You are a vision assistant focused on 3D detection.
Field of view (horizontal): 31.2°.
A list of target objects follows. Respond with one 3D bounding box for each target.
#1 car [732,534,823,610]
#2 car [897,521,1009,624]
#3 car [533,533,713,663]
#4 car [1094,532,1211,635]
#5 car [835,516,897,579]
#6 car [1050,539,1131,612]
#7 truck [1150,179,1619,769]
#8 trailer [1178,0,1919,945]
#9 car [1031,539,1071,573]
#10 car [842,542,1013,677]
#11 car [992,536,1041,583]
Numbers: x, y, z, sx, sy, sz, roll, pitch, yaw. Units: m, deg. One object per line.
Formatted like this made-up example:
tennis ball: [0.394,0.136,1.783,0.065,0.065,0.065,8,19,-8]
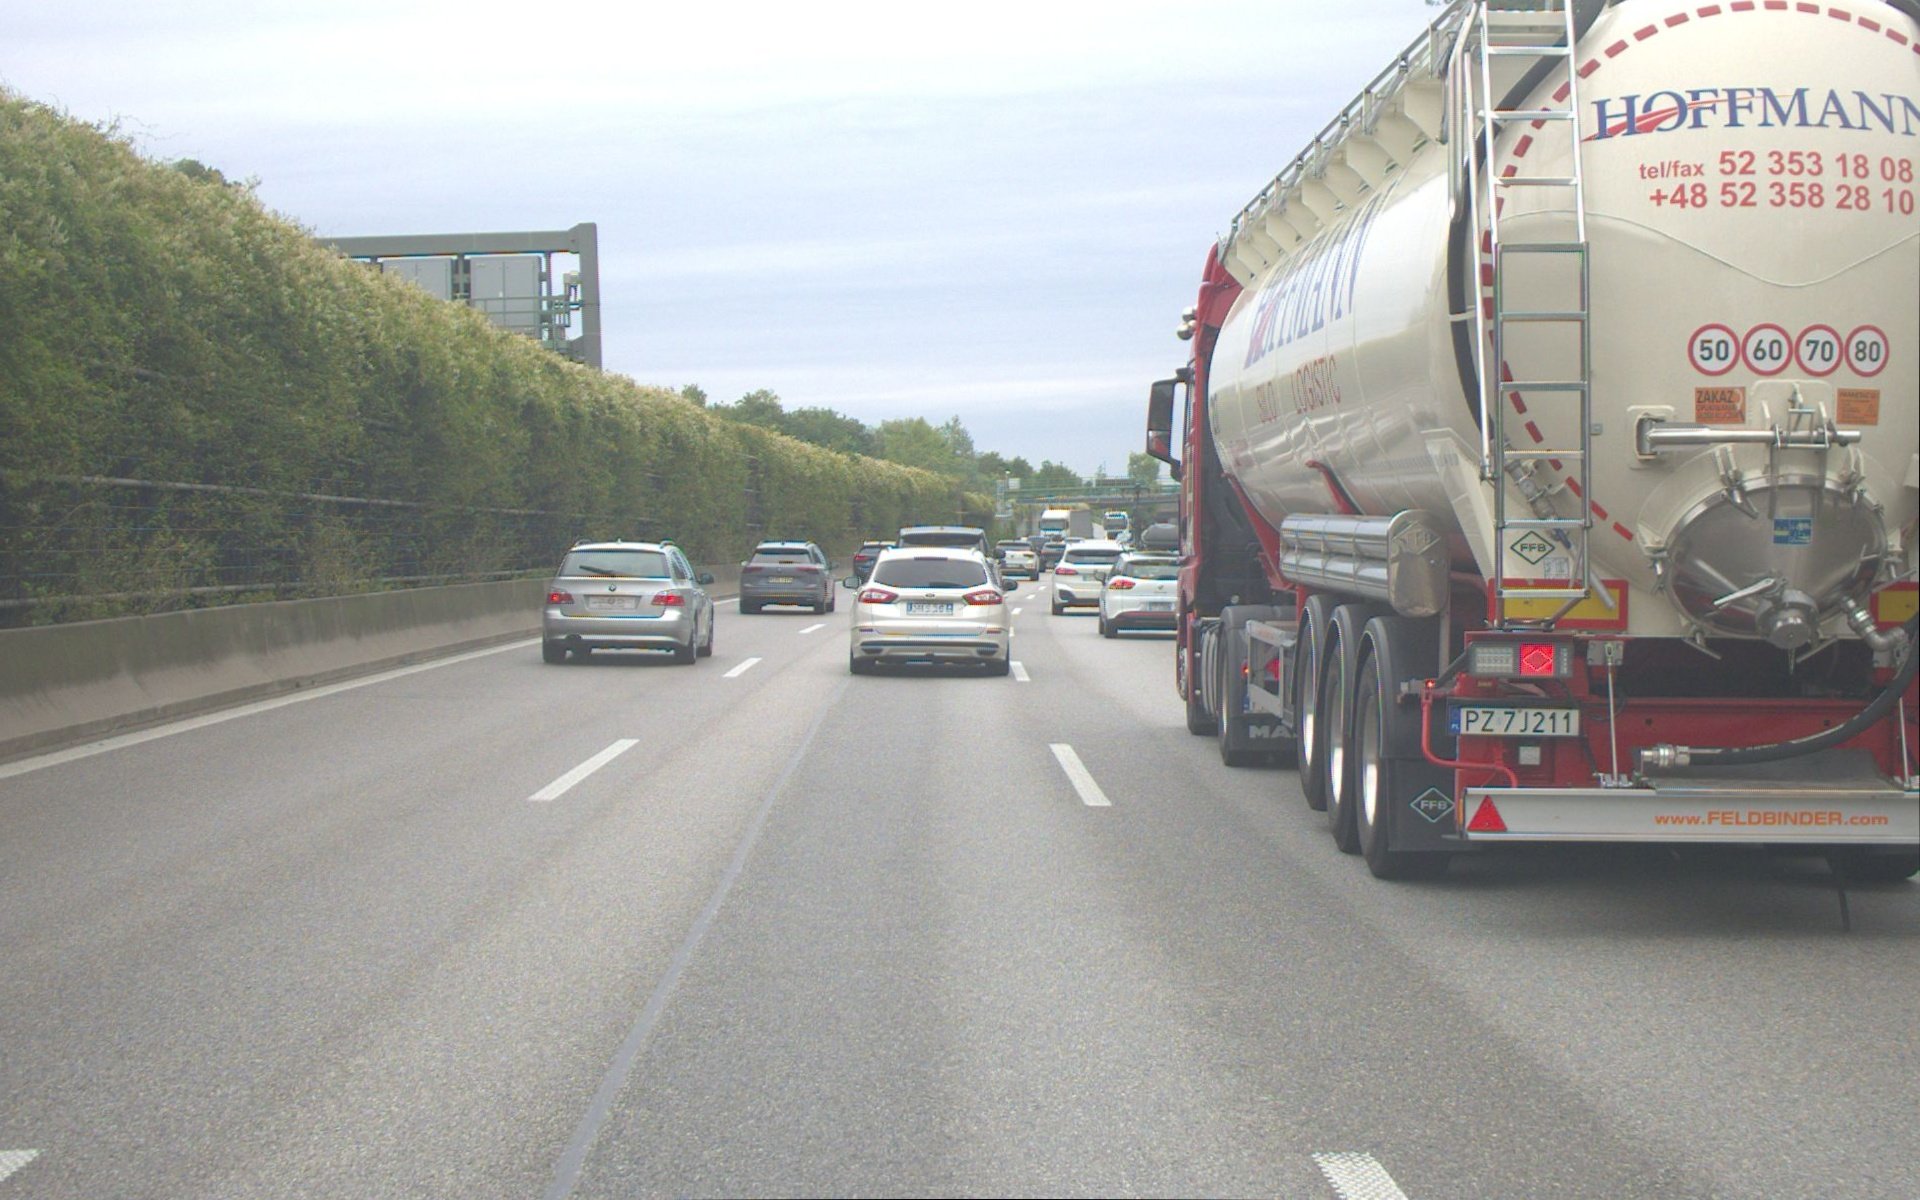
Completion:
car: [-3.729,-0.597,70.988,1.720,1.507,5.030,0,1,-1]
car: [-0.150,-0.498,58.847,1.689,1.501,3.872,4,2,-2]
car: [-4.118,-0.074,42.723,1.720,1.464,5.030,0,2,0]
car: [3.133,-0.310,56.791,1.816,1.620,5.030,0,1,2]
car: [-3.058,-1.731,112.529,1.993,2.007,3.841,0,1,-1]
car: [2.777,-0.534,73.739,1.689,1.501,3.871,0,1,2]
truck: [2.996,-0.871,26.080,2.695,3.899,6.556,0,1,0]
trailer: [3.065,-0.757,19.320,2.668,3.925,13.131,0,1,-1]
car: [4.246,-2.073,160.158,1.689,1.534,3.871,0,1,4]
car: [-0.344,0.066,40.699,1.892,1.499,5.030,0,1,0]
car: [2.168,-1.545,130.849,1.790,1.773,3.871,-1,1,2]
